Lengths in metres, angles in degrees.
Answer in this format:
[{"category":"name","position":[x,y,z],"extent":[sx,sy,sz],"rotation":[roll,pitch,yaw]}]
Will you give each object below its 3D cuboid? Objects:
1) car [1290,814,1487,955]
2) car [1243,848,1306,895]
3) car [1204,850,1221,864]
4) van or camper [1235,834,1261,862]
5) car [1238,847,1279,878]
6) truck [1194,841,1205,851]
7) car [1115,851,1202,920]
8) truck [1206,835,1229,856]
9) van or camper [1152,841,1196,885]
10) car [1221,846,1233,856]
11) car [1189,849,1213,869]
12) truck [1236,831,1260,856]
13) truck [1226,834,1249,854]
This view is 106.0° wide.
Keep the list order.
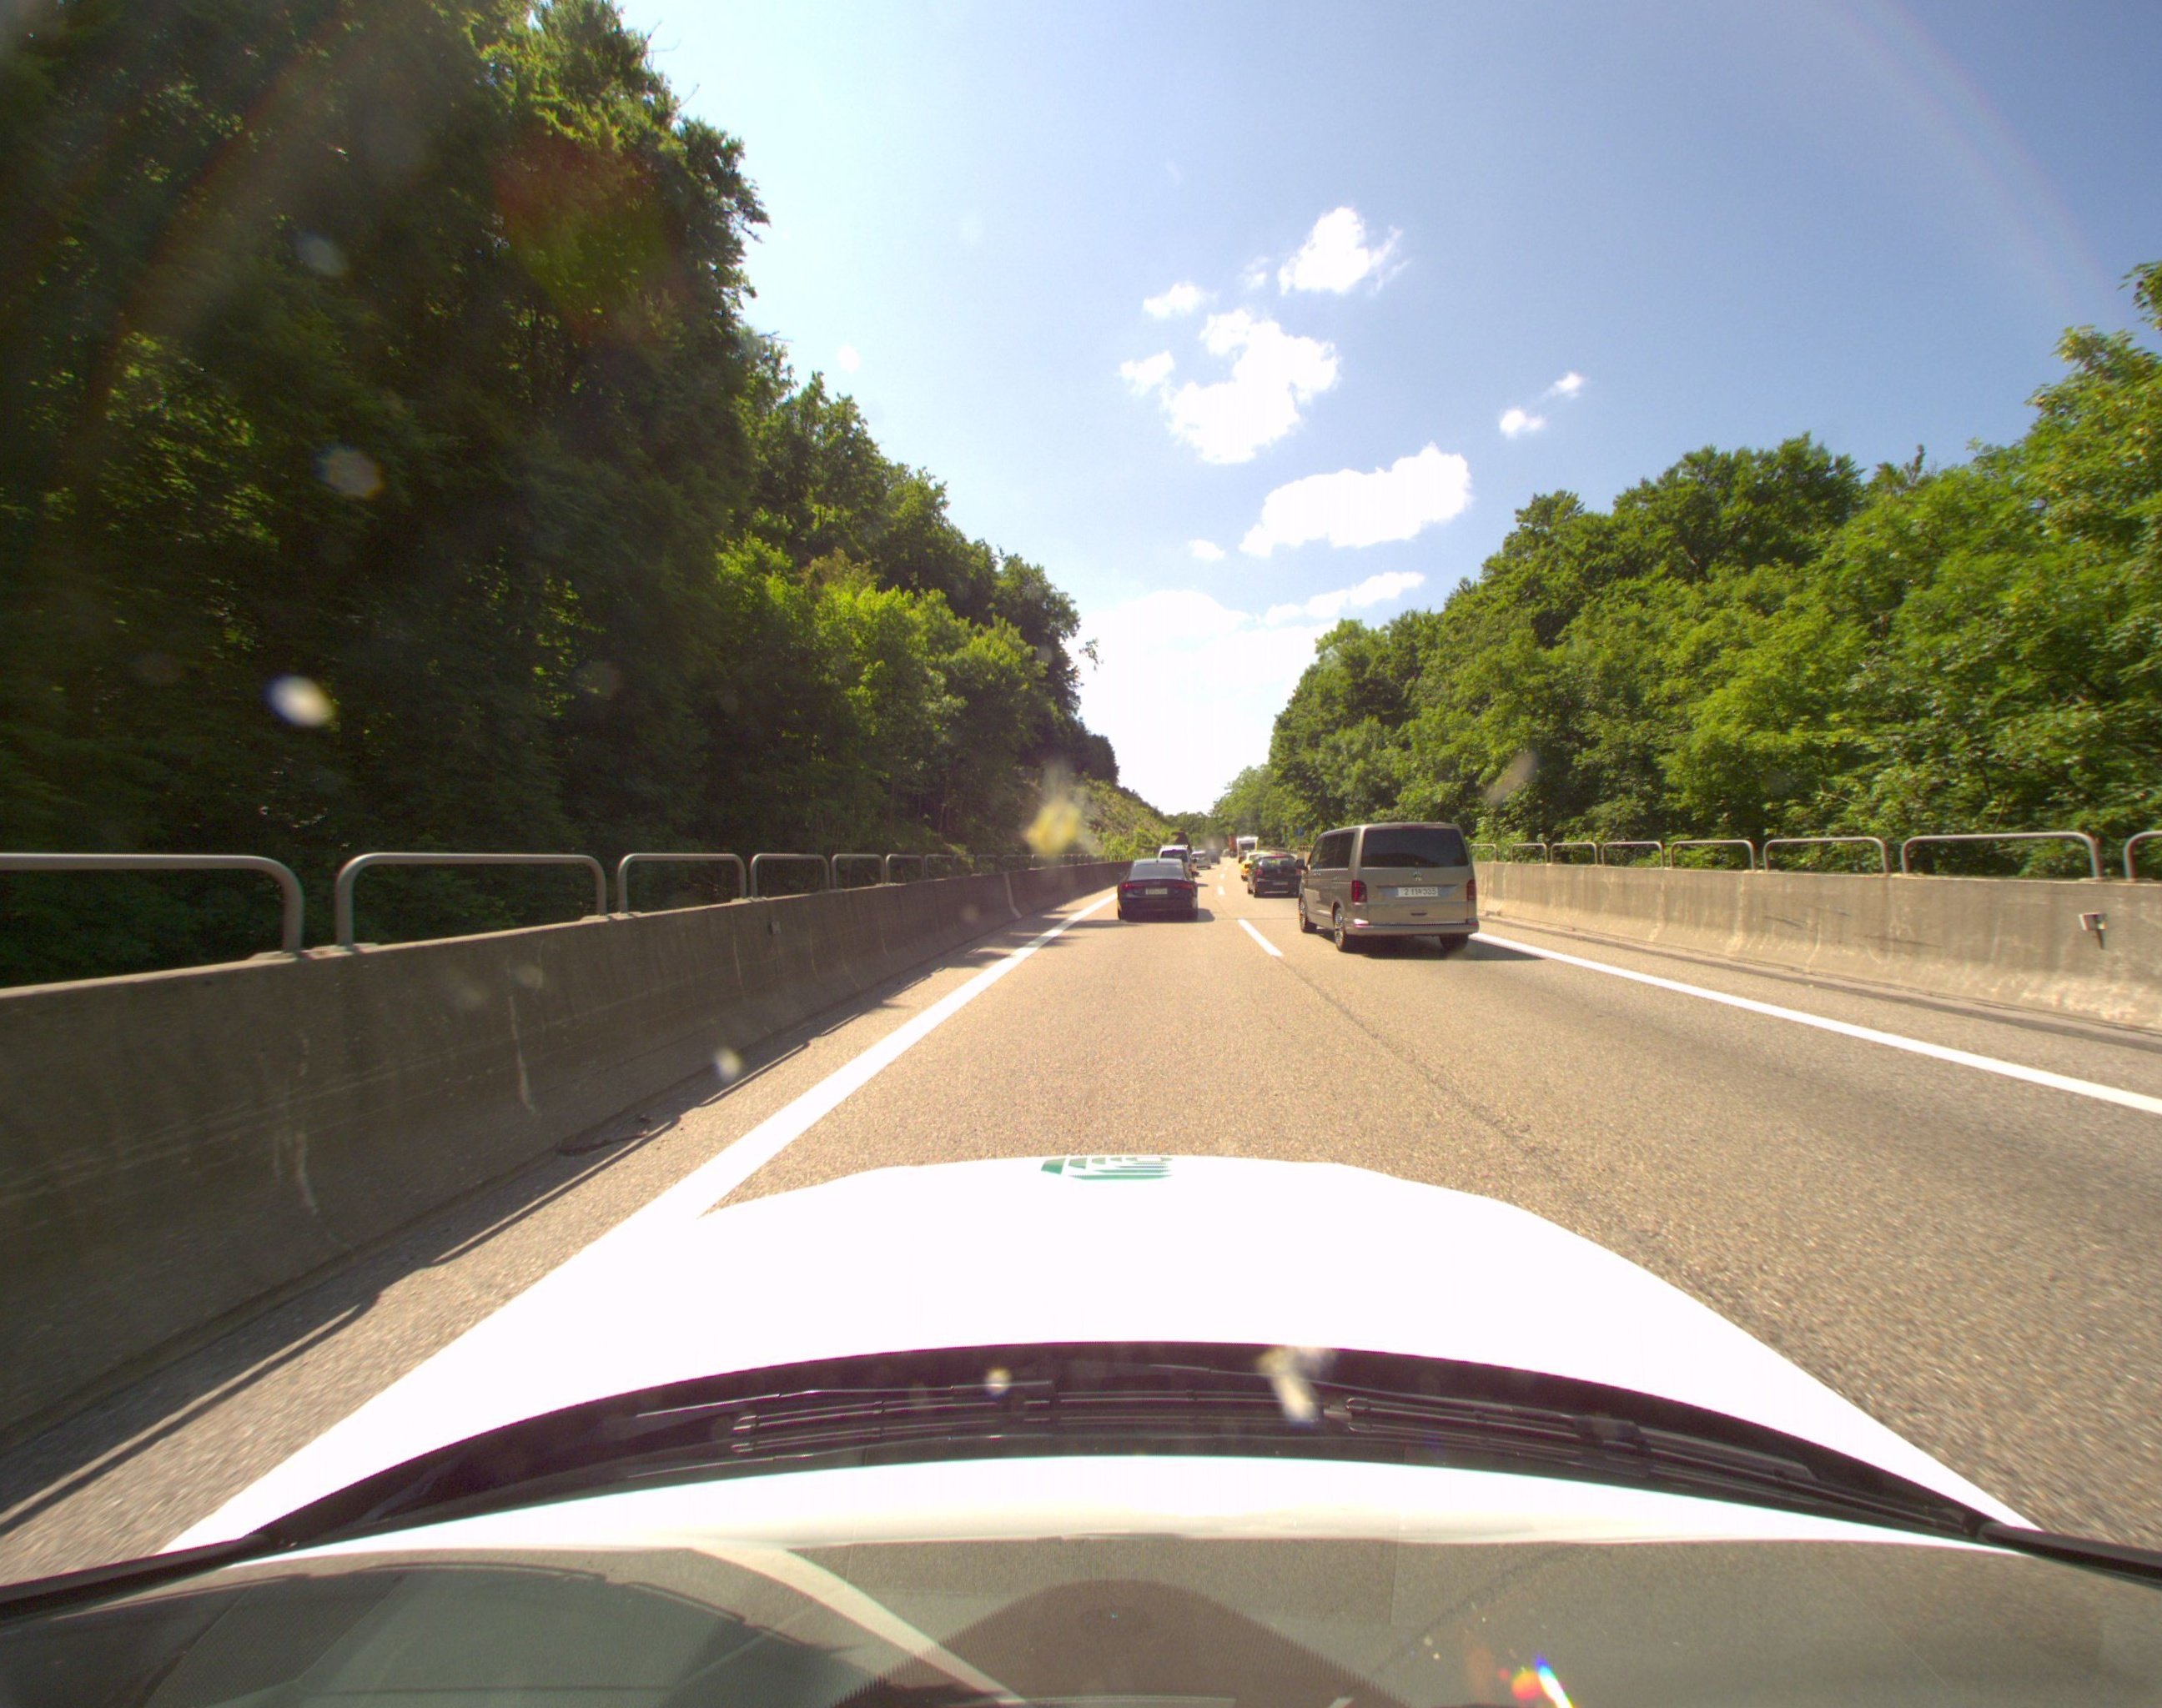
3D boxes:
[{"category":"car","position":[4.914,0.426,13.793],"extent":[1.931,1.931,4.701],"rotation":[-2,0,5]},{"category":"car","position":[6.625,0.553,28.178],"extent":[1.676,1.458,4.009],"rotation":[-2,0,7]},{"category":"car","position":[15.008,0.353,92.912],"extent":[1.740,1.571,3.781],"rotation":[-2,0,10]},{"category":"van or camper","position":[17.845,-0.602,87.072],"extent":[2.587,2.855,6.355],"rotation":[-2,0,11]},{"category":"car","position":[9.125,0.431,42.159],"extent":[1.798,1.478,4.091],"rotation":[-2,0,9]},{"category":"truck","position":[25.969,-1.794,178.062],"extent":[1.985,2.013,4.004],"rotation":[-1,0,3]},{"category":"car","position":[1.912,0.693,20.334],"extent":[1.896,1.489,4.385],"rotation":[-2,0,5]},{"category":"truck","position":[30.768,-1.811,183.835],"extent":[3.698,4.504,7.723],"rotation":[-1,0,0]},{"category":"van or camper","position":[4.470,0.399,38.552],"extent":[1.842,1.942,4.175],"rotation":[-2,0,9]},{"category":"car","position":[29.642,-0.634,165.194],"extent":[1.984,1.860,4.006],"rotation":[-1,0,5]},{"category":"car","position":[10.341,0.431,70.374],"extent":[1.885,1.584,3.777],"rotation":[-2,0,6]},{"category":"truck","position":[25.228,-1.573,123.421],"extent":[2.909,3.687,7.739],"rotation":[-1,0,7]},{"category":"truck","position":[27.853,-1.783,145.219],"extent":[3.148,3.468,8.233],"rotation":[-1,0,5]}]
